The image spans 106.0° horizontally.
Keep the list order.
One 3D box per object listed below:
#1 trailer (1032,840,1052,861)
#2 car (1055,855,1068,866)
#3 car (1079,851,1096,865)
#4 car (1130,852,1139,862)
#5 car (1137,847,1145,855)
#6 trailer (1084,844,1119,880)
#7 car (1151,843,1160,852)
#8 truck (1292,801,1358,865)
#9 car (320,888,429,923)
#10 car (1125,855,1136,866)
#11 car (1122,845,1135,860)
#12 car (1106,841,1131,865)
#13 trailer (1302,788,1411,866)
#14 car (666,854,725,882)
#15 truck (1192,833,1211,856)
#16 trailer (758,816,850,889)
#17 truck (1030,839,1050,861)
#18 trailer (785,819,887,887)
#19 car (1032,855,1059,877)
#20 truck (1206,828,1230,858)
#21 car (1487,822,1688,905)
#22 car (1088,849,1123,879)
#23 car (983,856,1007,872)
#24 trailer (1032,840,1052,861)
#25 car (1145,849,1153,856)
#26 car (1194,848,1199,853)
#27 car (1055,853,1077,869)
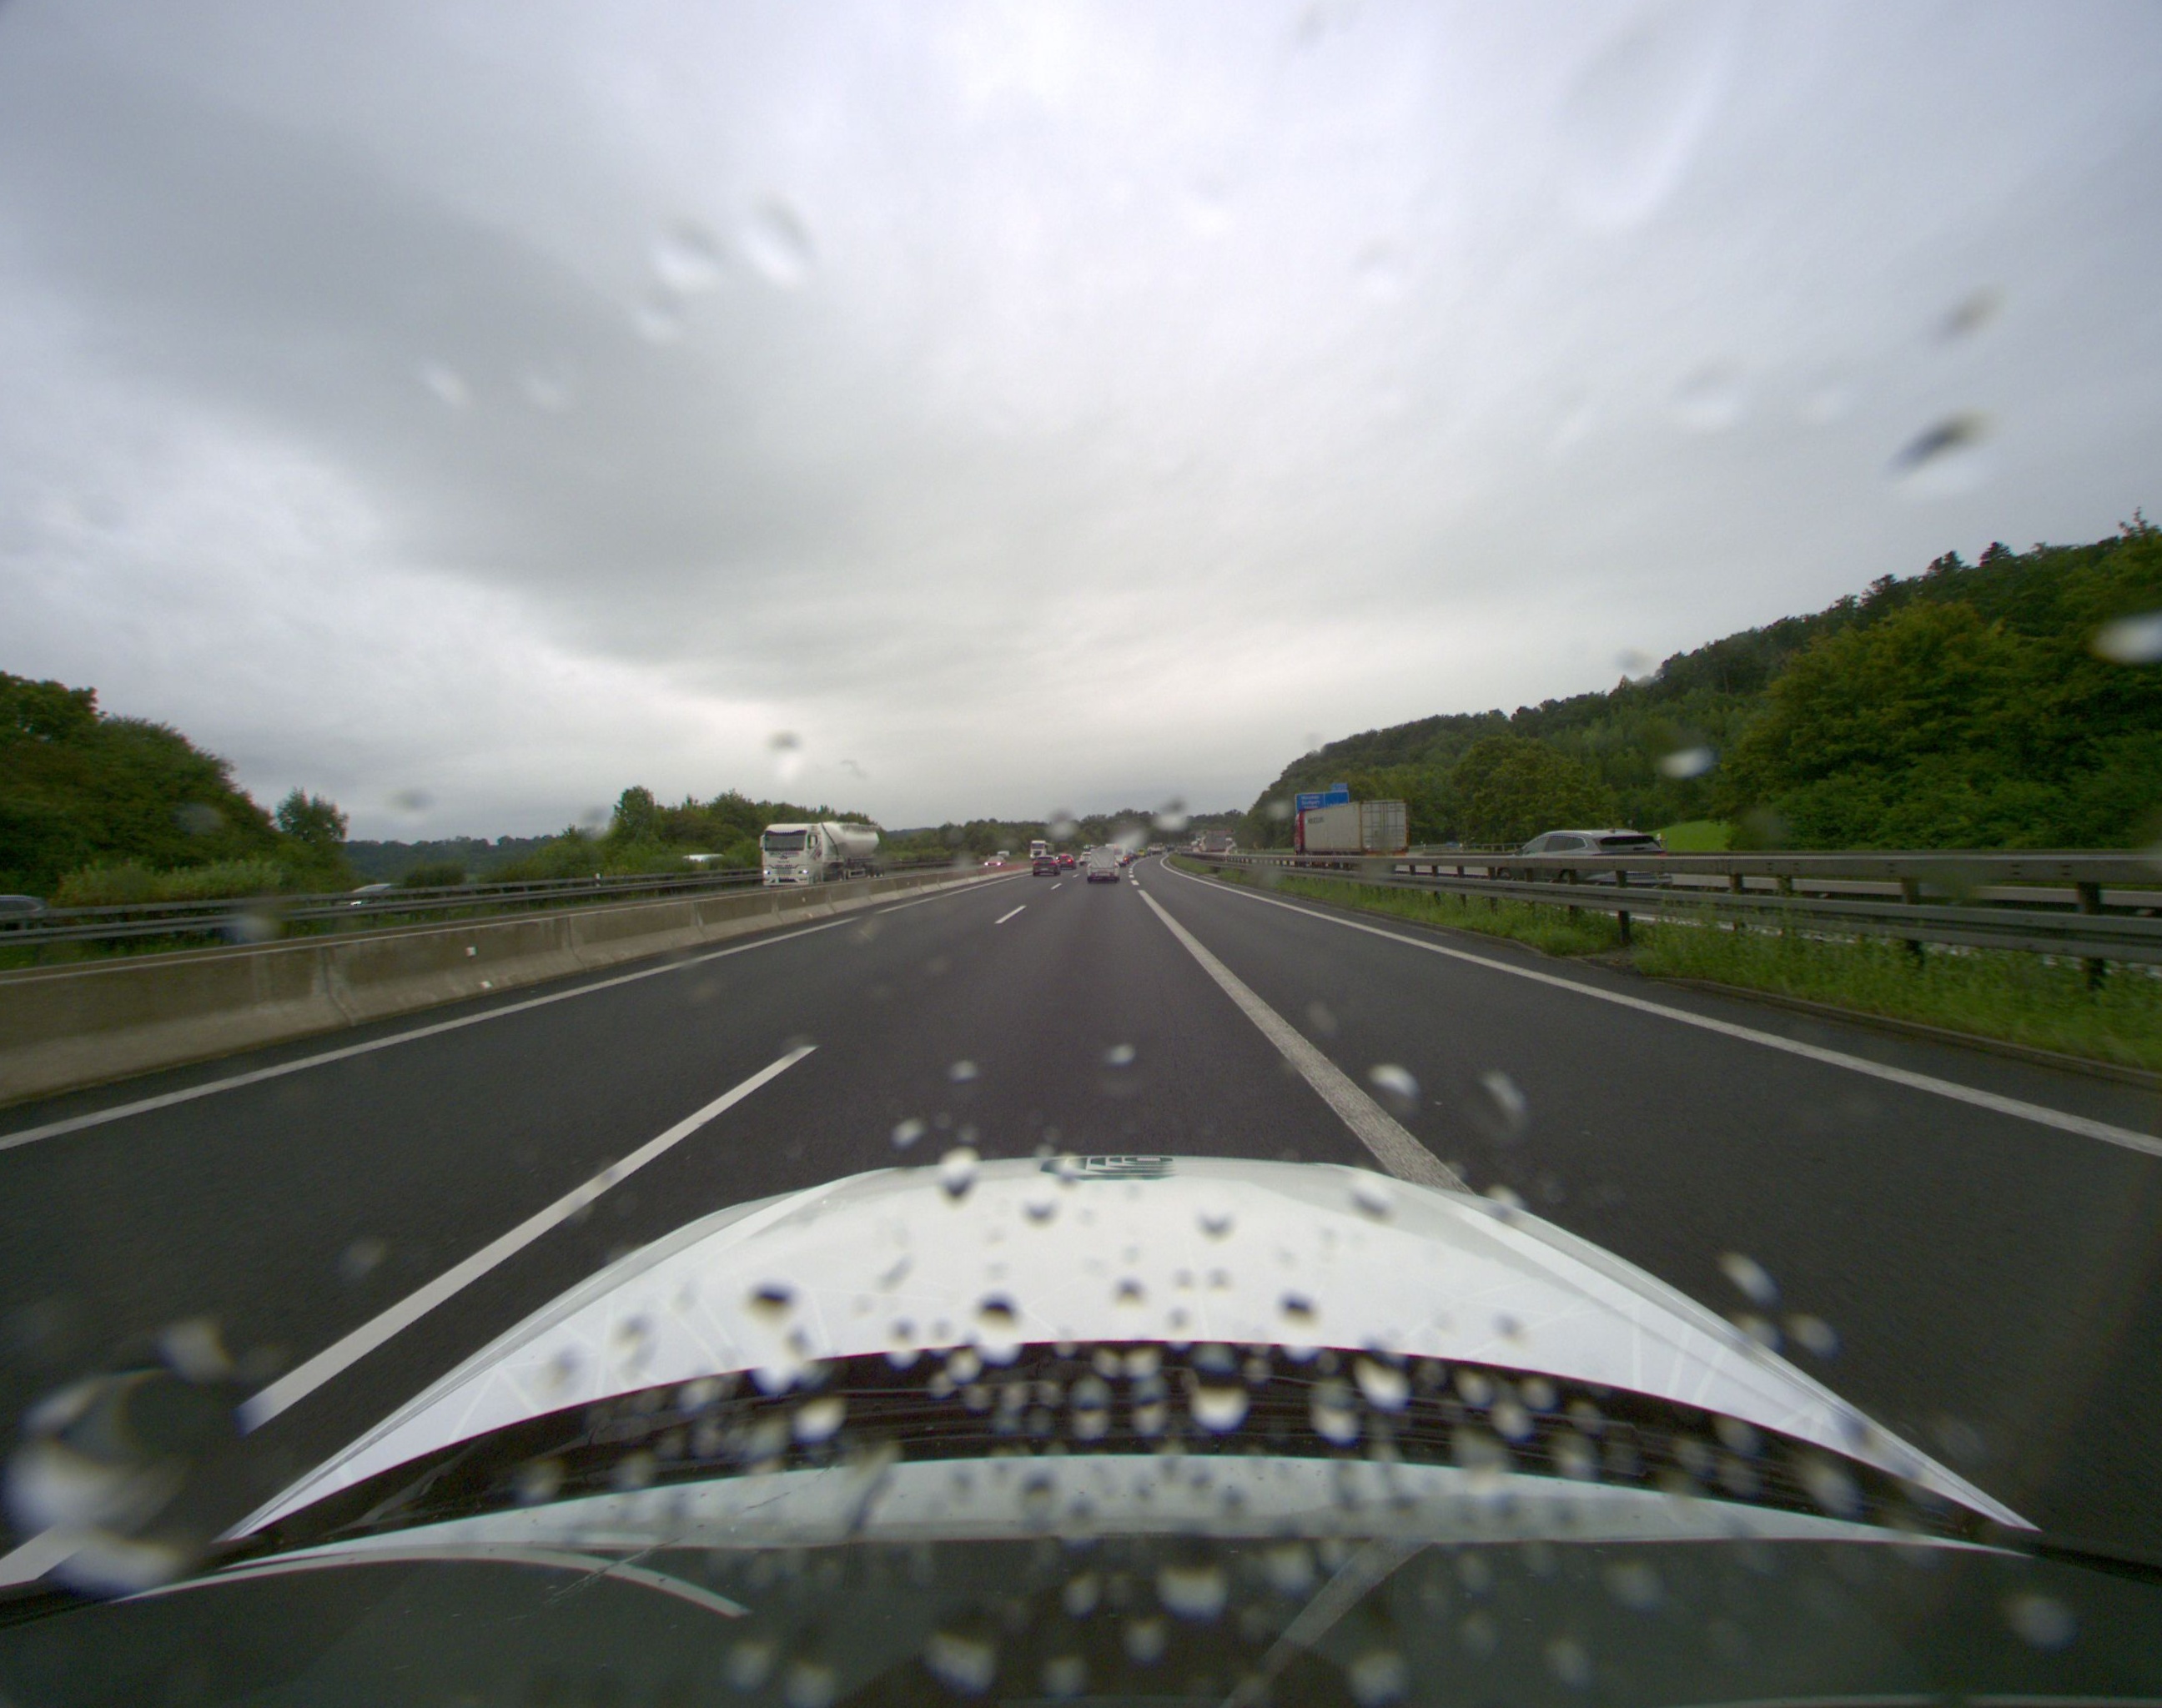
[{"bbox_3d":[-7.146,-0.623,149.650,2.892,3.749,8.931,-1,0,2],"label":"trailer"},{"bbox_3d":[-3.521,1.211,144.268,1.887,1.876,4.546,-1,0,3],"label":"car"},{"bbox_3d":[0.804,0.470,103.119,1.767,1.640,4.048,-1,0,5],"label":"car"},{"bbox_3d":[10.207,0.539,155.076,1.668,1.812,4.004,-1,0,4],"label":"car"},{"bbox_3d":[13.437,-0.631,182.124,1.667,1.812,4.008,-1,0,7],"label":"car"},{"bbox_3d":[1.149,0.442,44.117,1.668,1.812,4.004,-1,0,4],"label":"trailer"},{"bbox_3d":[21.157,-1.757,231.233,2.503,2.574,5.321,-1,0,6],"label":"car"},{"bbox_3d":[15.975,-1.275,53.728,2.605,3.884,6.396,-1,0,3],"label":"truck"},{"bbox_3d":[-33.962,2.444,39.289,1.670,1.456,4.001,-1,0,1],"label":"car"},{"bbox_3d":[8.066,1.023,131.880,1.668,1.812,4.004,-1,0,4],"label":"car"},{"bbox_3d":[6.397,-0.176,110.948,1.669,2.067,4.002,-1,0,2],"label":"car"},{"bbox_3d":[4.290,-0.119,92.564,2.495,2.585,5.708,-1,0,6],"label":"car"},{"bbox_3d":[15.646,-1.321,47.451,2.593,3.894,12.499,-1,0,3],"label":"trailer"},{"bbox_3d":[-29.443,1.066,62.415,1.867,2.014,5.301,-1,0,2],"label":"car"},{"bbox_3d":[25.787,-1.913,174.844,3.199,4.666,13.053,-1,0,6],"label":"truck"},{"bbox_3d":[-15.324,-0.059,45.615,2.626,3.715,6.496,-1,0,2],"label":"trailer"},{"bbox_3d":[-7.278,-0.641,145.627,2.876,3.749,5.947,-1,0,2],"label":"truck"},{"bbox_3d":[-15.032,-0.029,51.145,2.626,3.736,10.818,-1,0,3],"label":"trailer"},{"bbox_3d":[-2.546,0.855,58.870,1.670,1.456,4.001,-1,0,1],"label":"car"},{"bbox_3d":[22.392,-1.708,133.653,3.199,4.666,13.056,-1,0,6],"label":"truck"},{"bbox_3d":[11.327,0.200,18.682,1.763,1.610,4.644,-1,0,1],"label":"car"},{"bbox_3d":[1.505,0.577,47.904,1.810,1.616,4.783,-1,0,4],"label":"car"},{"bbox_3d":[-9.118,1.076,86.543,1.800,1.580,4.360,-1,0,4],"label":"car"},{"bbox_3d":[-7.146,-0.623,149.650,2.892,3.749,8.931,-1,0,2],"label":"trailer"},{"bbox_3d":[16.758,-0.307,201.050,2.027,1.683,4.006,-1,0,5],"label":"car"},{"bbox_3d":[34.409,-1.148,242.705,1.666,1.456,4.009,-1,0,8],"label":"car"},{"bbox_3d":[-1.448,0.706,79.595,1.758,1.456,4.004,-1,0,4],"label":"car"}]
